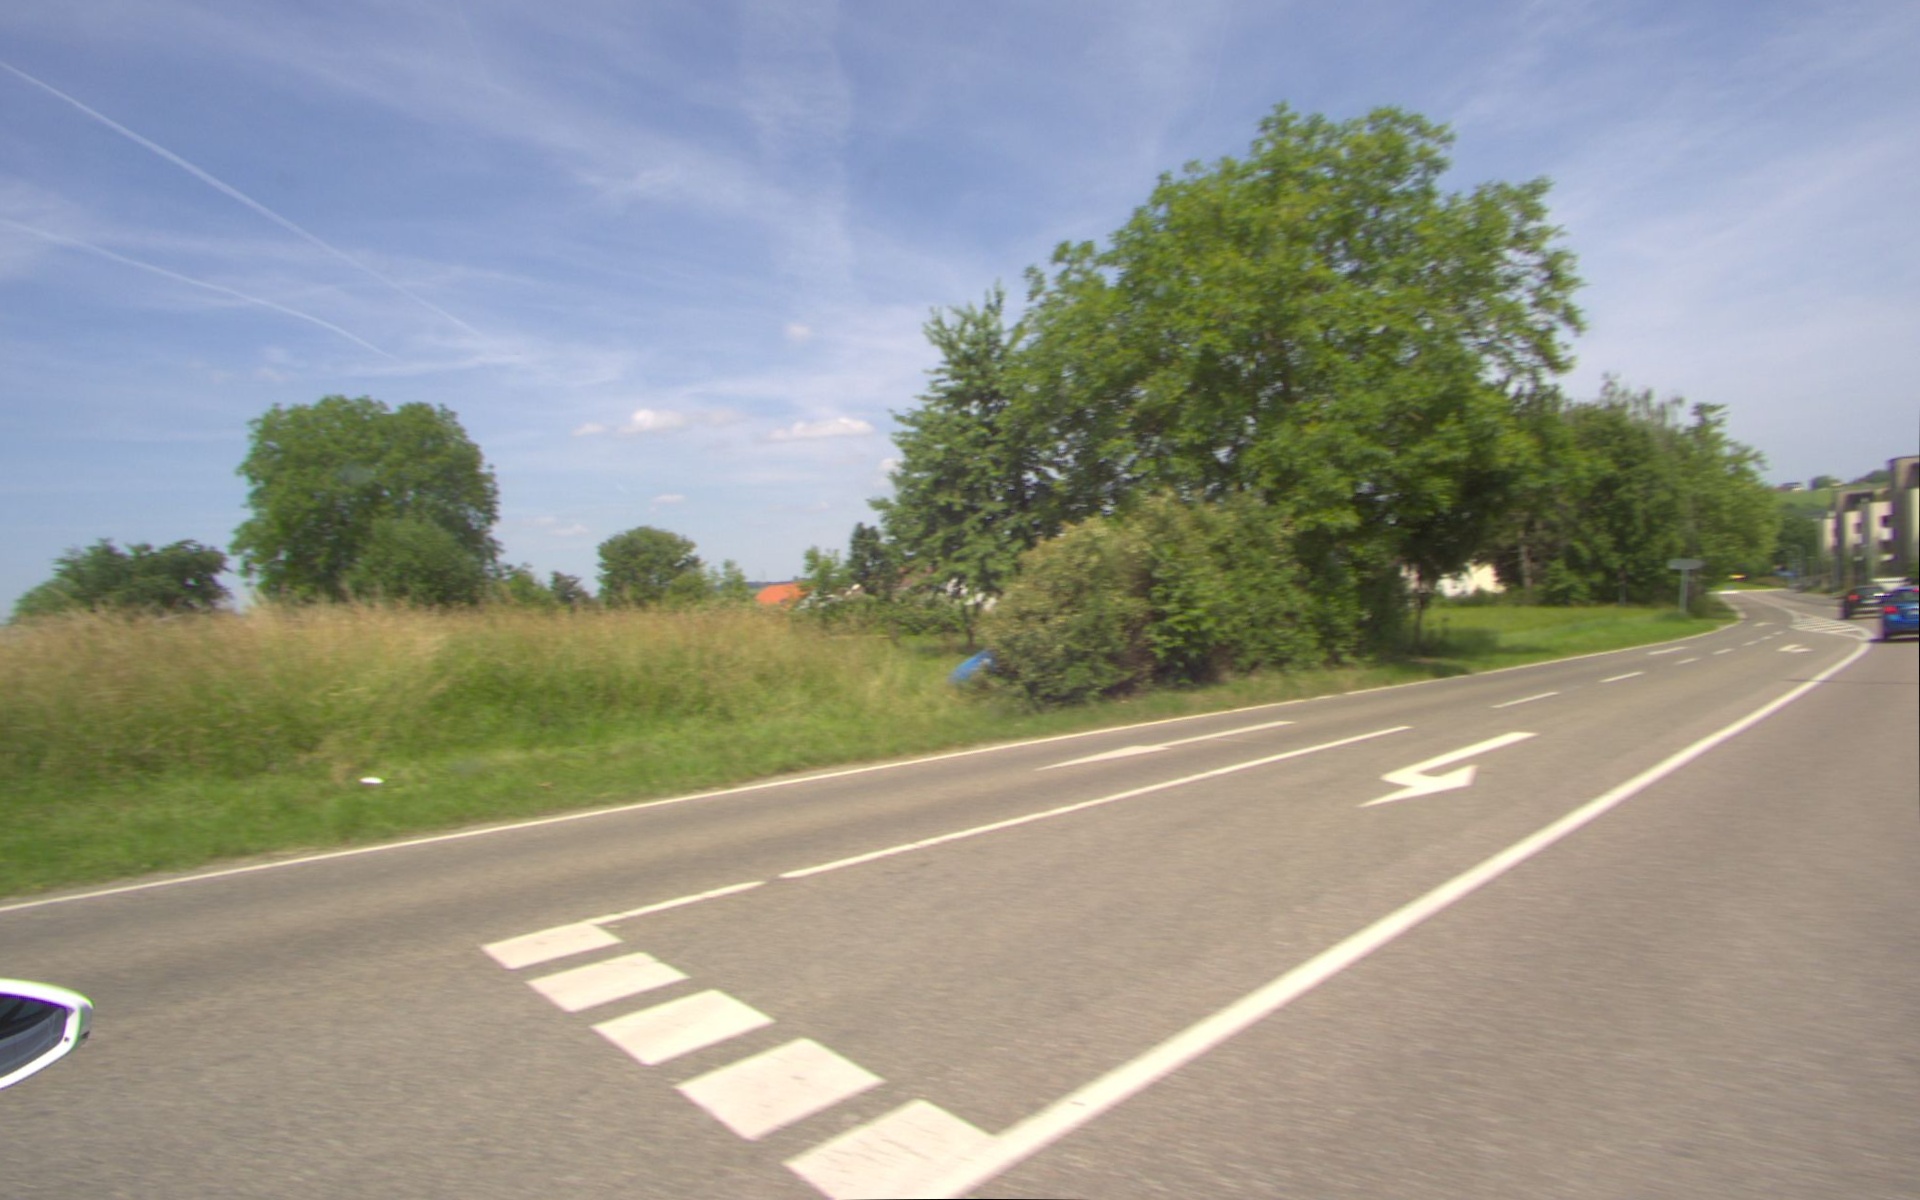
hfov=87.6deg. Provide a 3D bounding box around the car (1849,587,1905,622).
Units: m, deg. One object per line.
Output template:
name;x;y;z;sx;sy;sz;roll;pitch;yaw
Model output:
car;45.694;0.224;49.960;1.809;1.601;3.969;-2;-1;39

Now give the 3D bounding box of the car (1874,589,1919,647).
car;26.627;0.448;27.841;1.596;1.510;3.817;-5;-3;41
